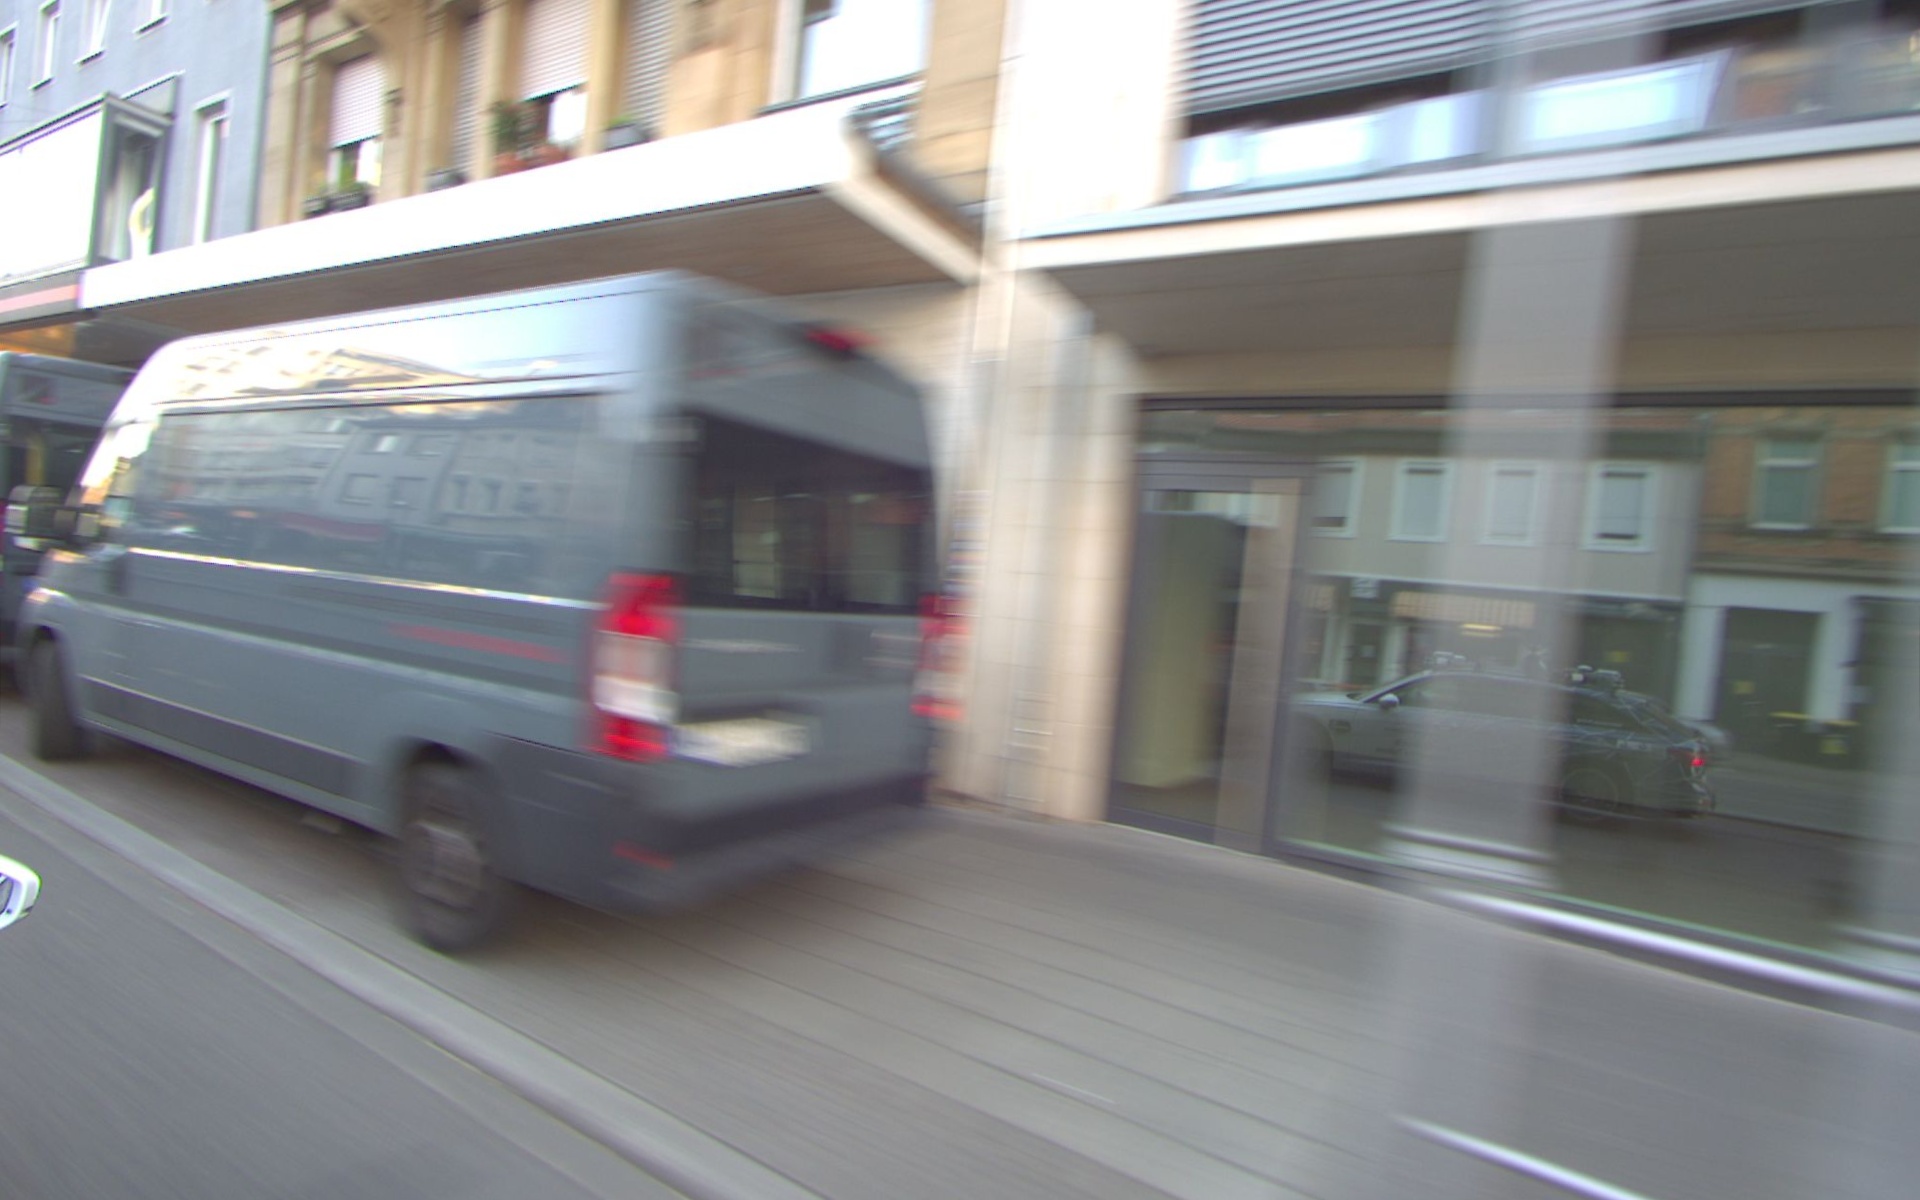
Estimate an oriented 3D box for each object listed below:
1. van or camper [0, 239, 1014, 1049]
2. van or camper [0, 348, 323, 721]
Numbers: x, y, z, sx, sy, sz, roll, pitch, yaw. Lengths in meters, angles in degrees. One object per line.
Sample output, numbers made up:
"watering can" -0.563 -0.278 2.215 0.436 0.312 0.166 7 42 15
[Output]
"van or camper" -2.952 -0.091 5.573 6.031 2.459 2.188 6 2 32
"van or camper" -8.203 -0.643 8.785 5.425 2.459 2.189 6 2 31
